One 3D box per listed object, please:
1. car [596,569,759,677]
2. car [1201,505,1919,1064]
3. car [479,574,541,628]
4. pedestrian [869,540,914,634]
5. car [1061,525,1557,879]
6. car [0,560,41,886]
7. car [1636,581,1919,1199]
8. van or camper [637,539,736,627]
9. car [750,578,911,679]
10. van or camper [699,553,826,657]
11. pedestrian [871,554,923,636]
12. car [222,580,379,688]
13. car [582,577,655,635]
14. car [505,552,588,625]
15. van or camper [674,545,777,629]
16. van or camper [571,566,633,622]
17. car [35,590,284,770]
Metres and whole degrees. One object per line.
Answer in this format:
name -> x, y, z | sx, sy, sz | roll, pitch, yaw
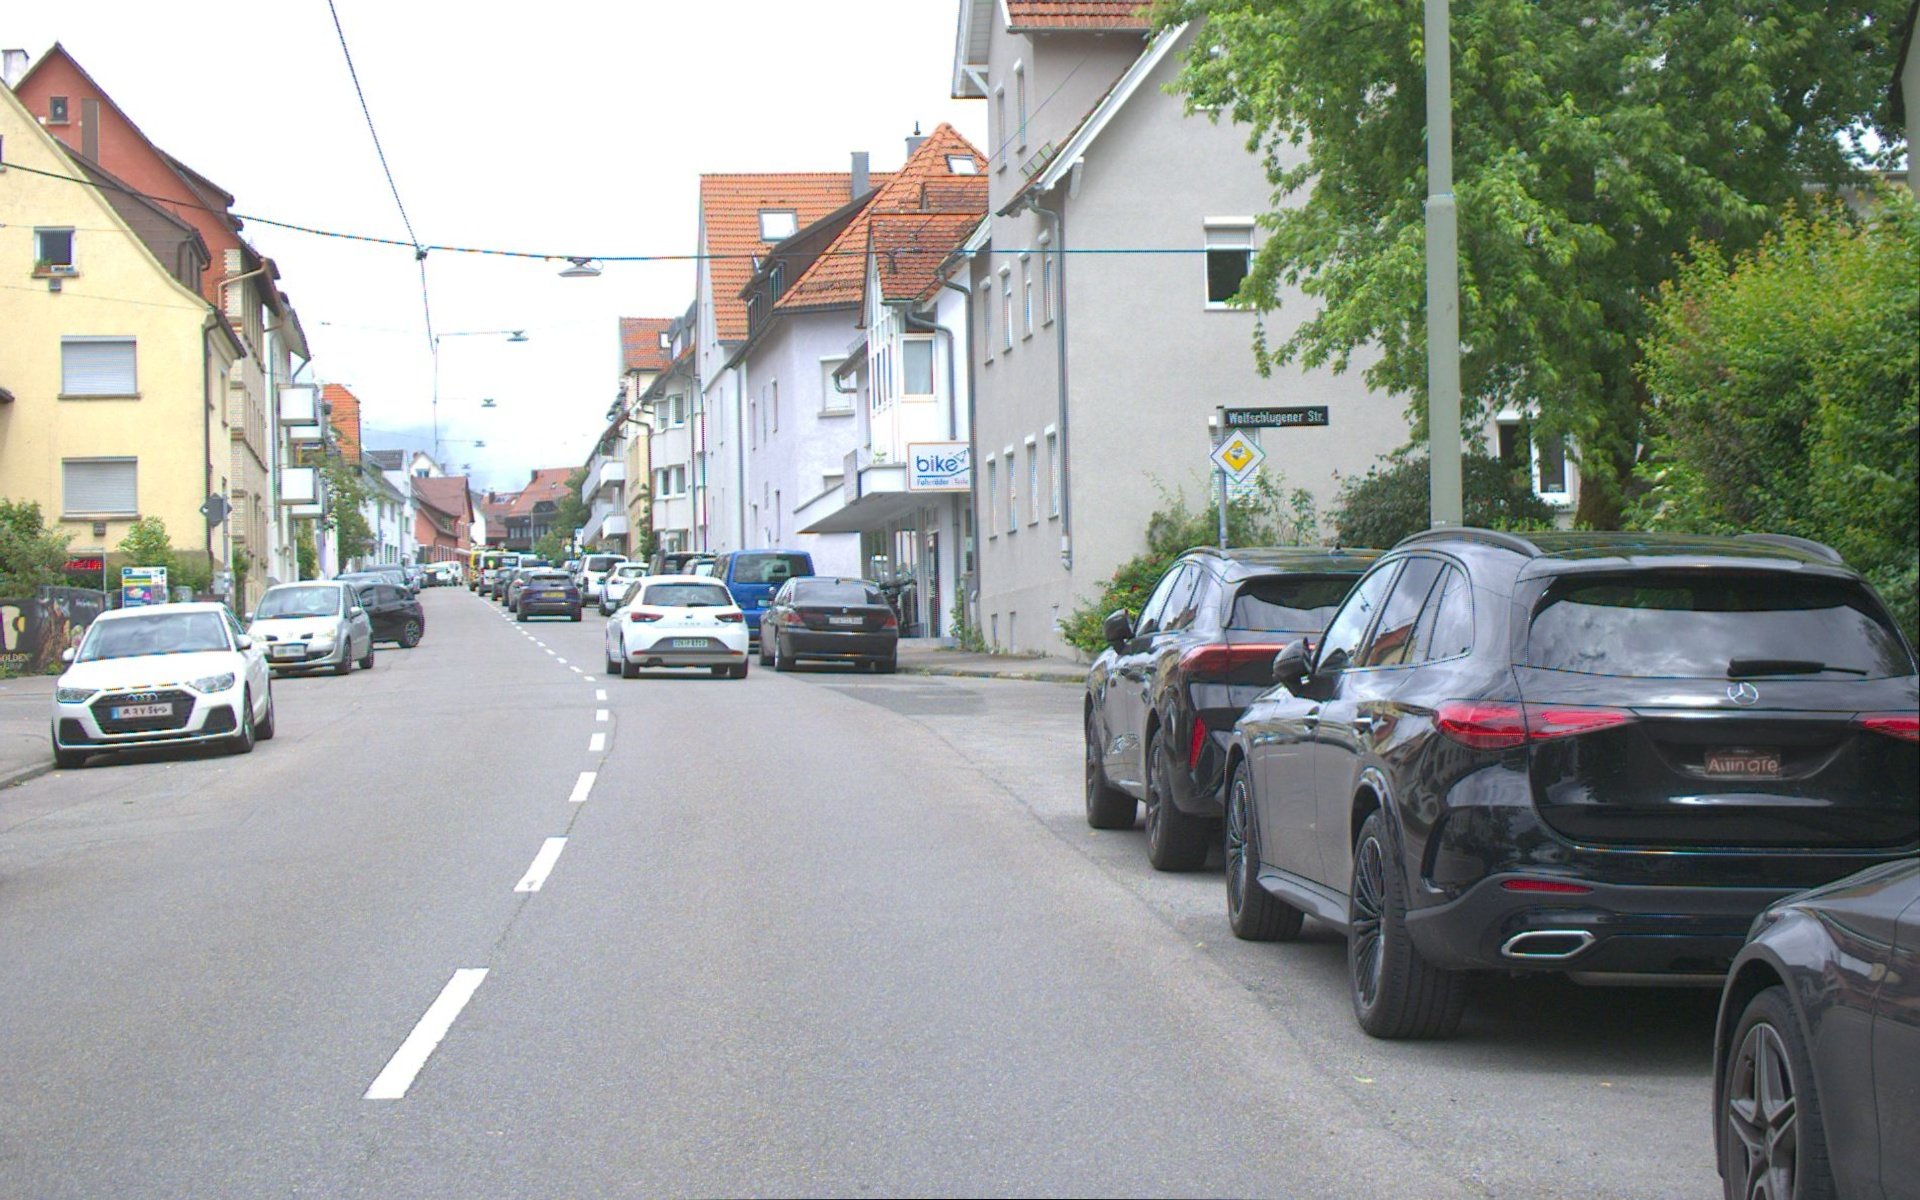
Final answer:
car -> -4.033, 0.288, 48.626 | 1.940, 1.434, 4.001 | 0, 1, -10
car -> 2.180, 0.536, 12.242 | 1.993, 1.610, 4.540 | 1, 0, -4
car -> -16.819, 0.021, 128.451 | 2.152, 2.007, 4.001 | 0, 0, -9
pedestrian -> -1.470, -0.276, 73.741 | 0.760, 2.007, 0.618 | 0, 0, 27
car -> 1.671, 0.465, 18.029 | 1.810, 1.610, 4.540 | 1, 0, -4
car -> -5.795, 0.692, 16.186 | 1.846, 1.674, 4.787 | -4, 0, -4
car -> 2.698, 0.693, 5.496 | 1.993, 1.473, 4.621 | -1, 0, -4
van or camper -> -6.849, -0.445, 85.512 | 1.993, 2.058, 5.946 | 1, 1, -9
car -> -2.108, 0.414, 54.667 | 1.993, 1.512, 4.893 | 1, 0, -9
van or camper -> -3.831, 0.054, 66.011 | 1.926, 1.919, 4.832 | 0, 1, -9
pedestrian -> -1.322, -0.111, 72.209 | 0.871, 1.719, 0.618 | 0, 0, 27
car -> -10.967, 0.534, 57.420 | 1.833, 1.572, 4.032 | -4, 1, -2
car -> -10.677, 0.162, 107.247 | 1.940, 1.687, 4.001 | 1, 1, -10
car -> -11.744, -0.332, 97.530 | 2.152, 2.007, 4.001 | 0, 0, -9
van or camper -> -5.346, -0.324, 78.001 | 1.870, 1.822, 4.681 | 1, 1, -9
van or camper -> -13.470, -0.250, 129.023 | 1.940, 2.048, 4.564 | 0, 1, -11
car -> -7.479, 0.706, 32.437 | 1.726, 1.453, 3.899 | -5, 1, -6
